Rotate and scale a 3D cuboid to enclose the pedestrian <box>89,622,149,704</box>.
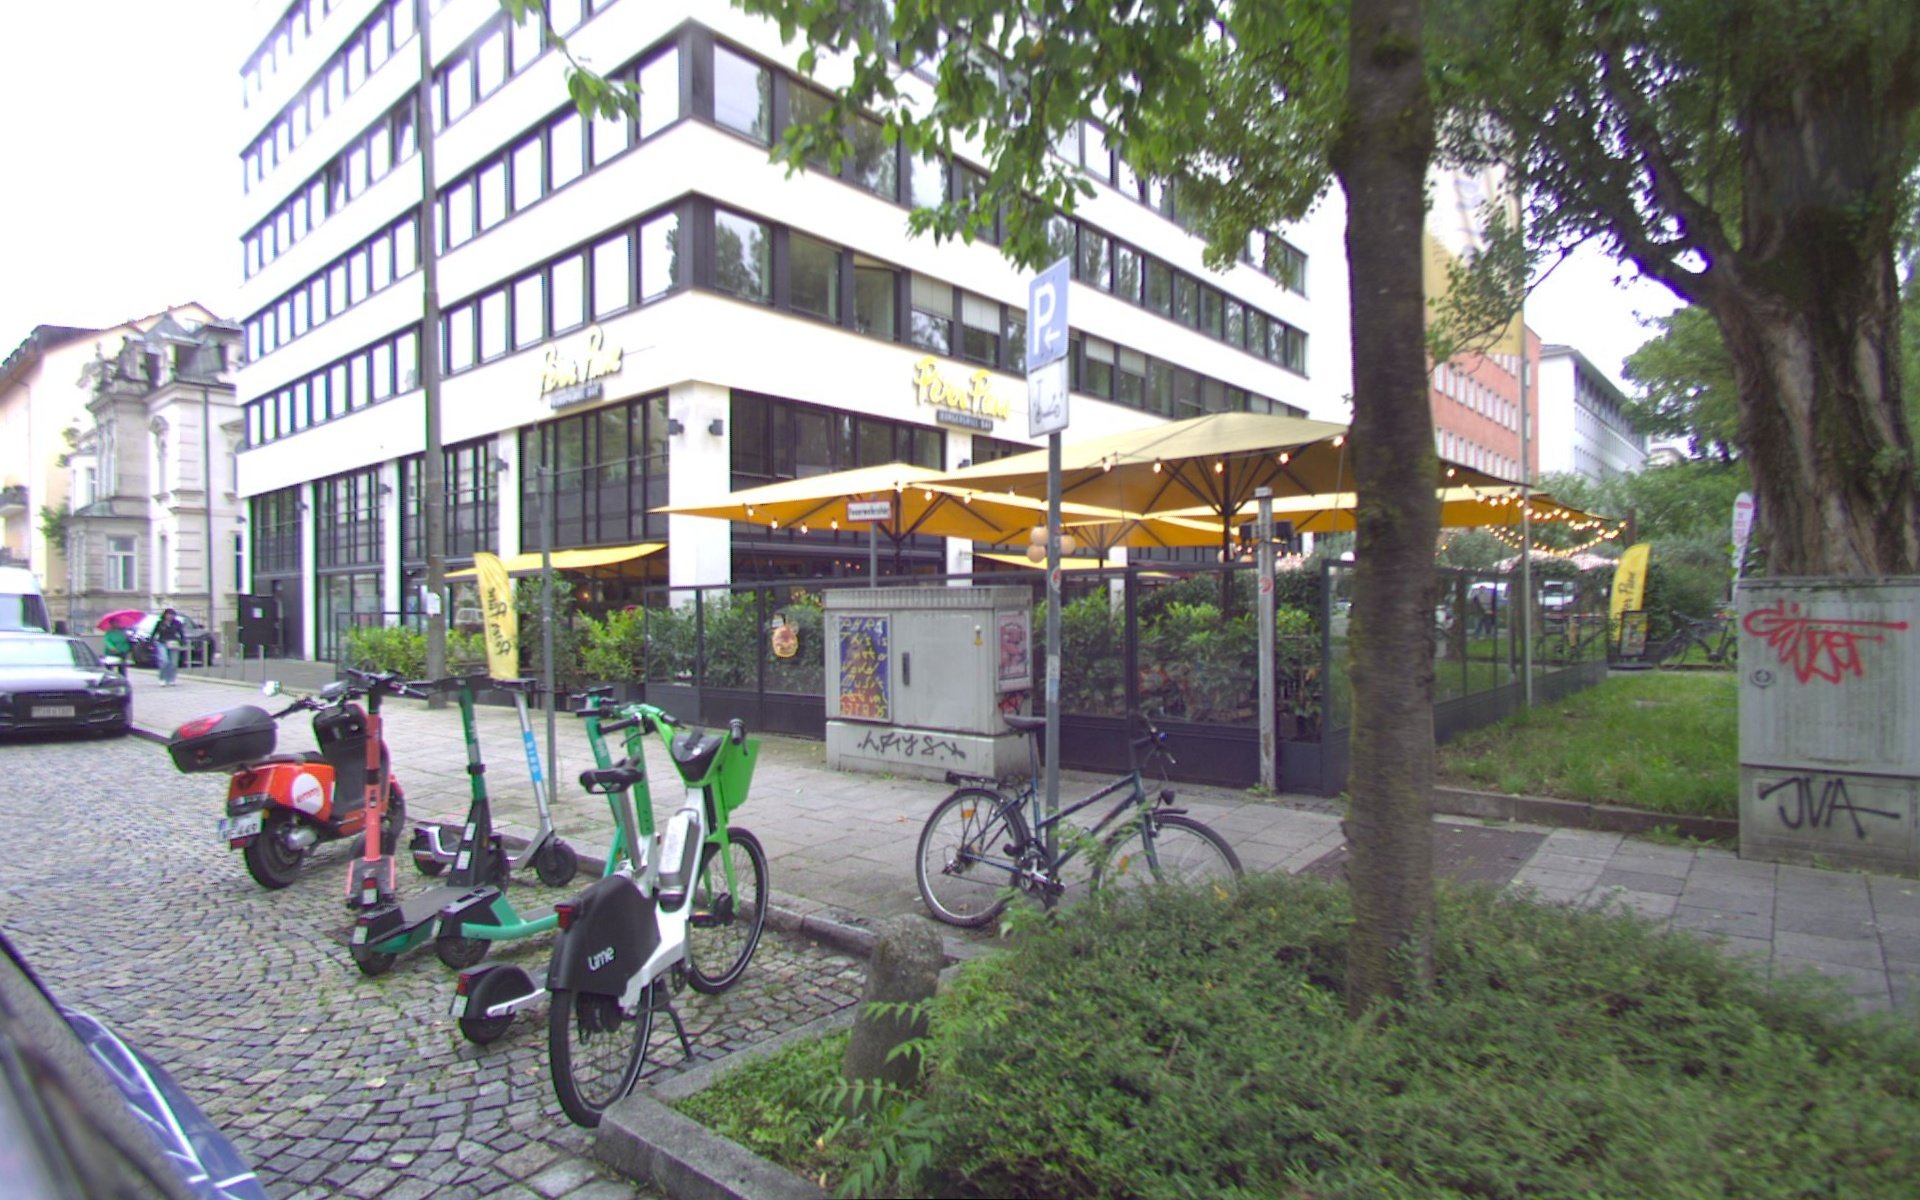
[{"bbox_3d":[-18.264,1.347,21.986,0.800,1.719,0.916,-1,-1,43],"label":"pedestrian"}]

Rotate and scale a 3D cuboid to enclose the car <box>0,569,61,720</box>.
[{"bbox_3d":[-18.362,0.781,18.478,5.843,2.509,2.039,-1,-1,40],"label":"car"}]

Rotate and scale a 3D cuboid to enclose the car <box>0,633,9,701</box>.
[{"bbox_3d":[-22.839,1.490,22.665,4.000,1.441,1.972,-1,-1,43],"label":"car"}]

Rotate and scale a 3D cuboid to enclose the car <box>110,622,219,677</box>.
[{"bbox_3d":[-24.461,1.474,31.075,4.167,1.544,1.888,-1,-1,41],"label":"car"}]

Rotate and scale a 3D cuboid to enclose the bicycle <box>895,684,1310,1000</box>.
[{"bbox_3d":[0.551,0.935,4.416,1.761,1.030,0.546,-1,-1,39],"label":"bicycle"}]

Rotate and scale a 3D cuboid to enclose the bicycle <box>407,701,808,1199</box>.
[{"bbox_3d":[-1.072,1.013,3.543,0.548,1.152,1.757,-1,0,9],"label":"bicycle"}]

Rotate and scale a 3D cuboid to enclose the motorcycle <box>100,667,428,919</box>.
[{"bbox_3d":[-4.174,1.074,6.309,0.760,1.205,1.992,-1,-1,-3],"label":"motorcycle"}]

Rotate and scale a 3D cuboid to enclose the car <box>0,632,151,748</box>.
[{"bbox_3d":[-12.846,1.145,13.947,4.114,1.340,1.973,-1,-1,41],"label":"car"}]

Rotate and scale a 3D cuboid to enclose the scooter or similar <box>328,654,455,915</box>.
[{"bbox_3d":[-3.286,0.990,5.925,0.322,1.282,1.361,-1,0,-16],"label":"scooter or similar"}]

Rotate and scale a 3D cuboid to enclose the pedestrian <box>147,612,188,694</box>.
[{"bbox_3d":[-17.497,1.157,22.346,0.650,1.761,0.568,-1,-1,39],"label":"pedestrian"}]

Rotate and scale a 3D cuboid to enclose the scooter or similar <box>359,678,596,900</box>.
[{"bbox_3d":[-2.782,1.065,5.857,1.237,1.189,0.389,-1,-1,9],"label":"scooter or similar"}]

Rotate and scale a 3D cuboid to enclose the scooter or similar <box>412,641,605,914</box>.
[{"bbox_3d":[-2.427,0.889,5.559,0.324,1.282,1.247,-1,-1,10],"label":"scooter or similar"}]

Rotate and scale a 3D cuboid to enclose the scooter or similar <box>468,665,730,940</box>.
[{"bbox_3d":[-1.772,0.941,5.099,0.327,1.153,1.234,-1,-1,41],"label":"scooter or similar"}]

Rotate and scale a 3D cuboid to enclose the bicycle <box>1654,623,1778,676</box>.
[{"bbox_3d":[13.939,0.894,18.693,1.800,0.919,0.612,-1,-1,39],"label":"bicycle"}]

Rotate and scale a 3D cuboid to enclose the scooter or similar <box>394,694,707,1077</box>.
[{"bbox_3d":[-1.573,1.021,4.122,0.366,1.153,1.422,-1,-1,17],"label":"scooter or similar"}]
